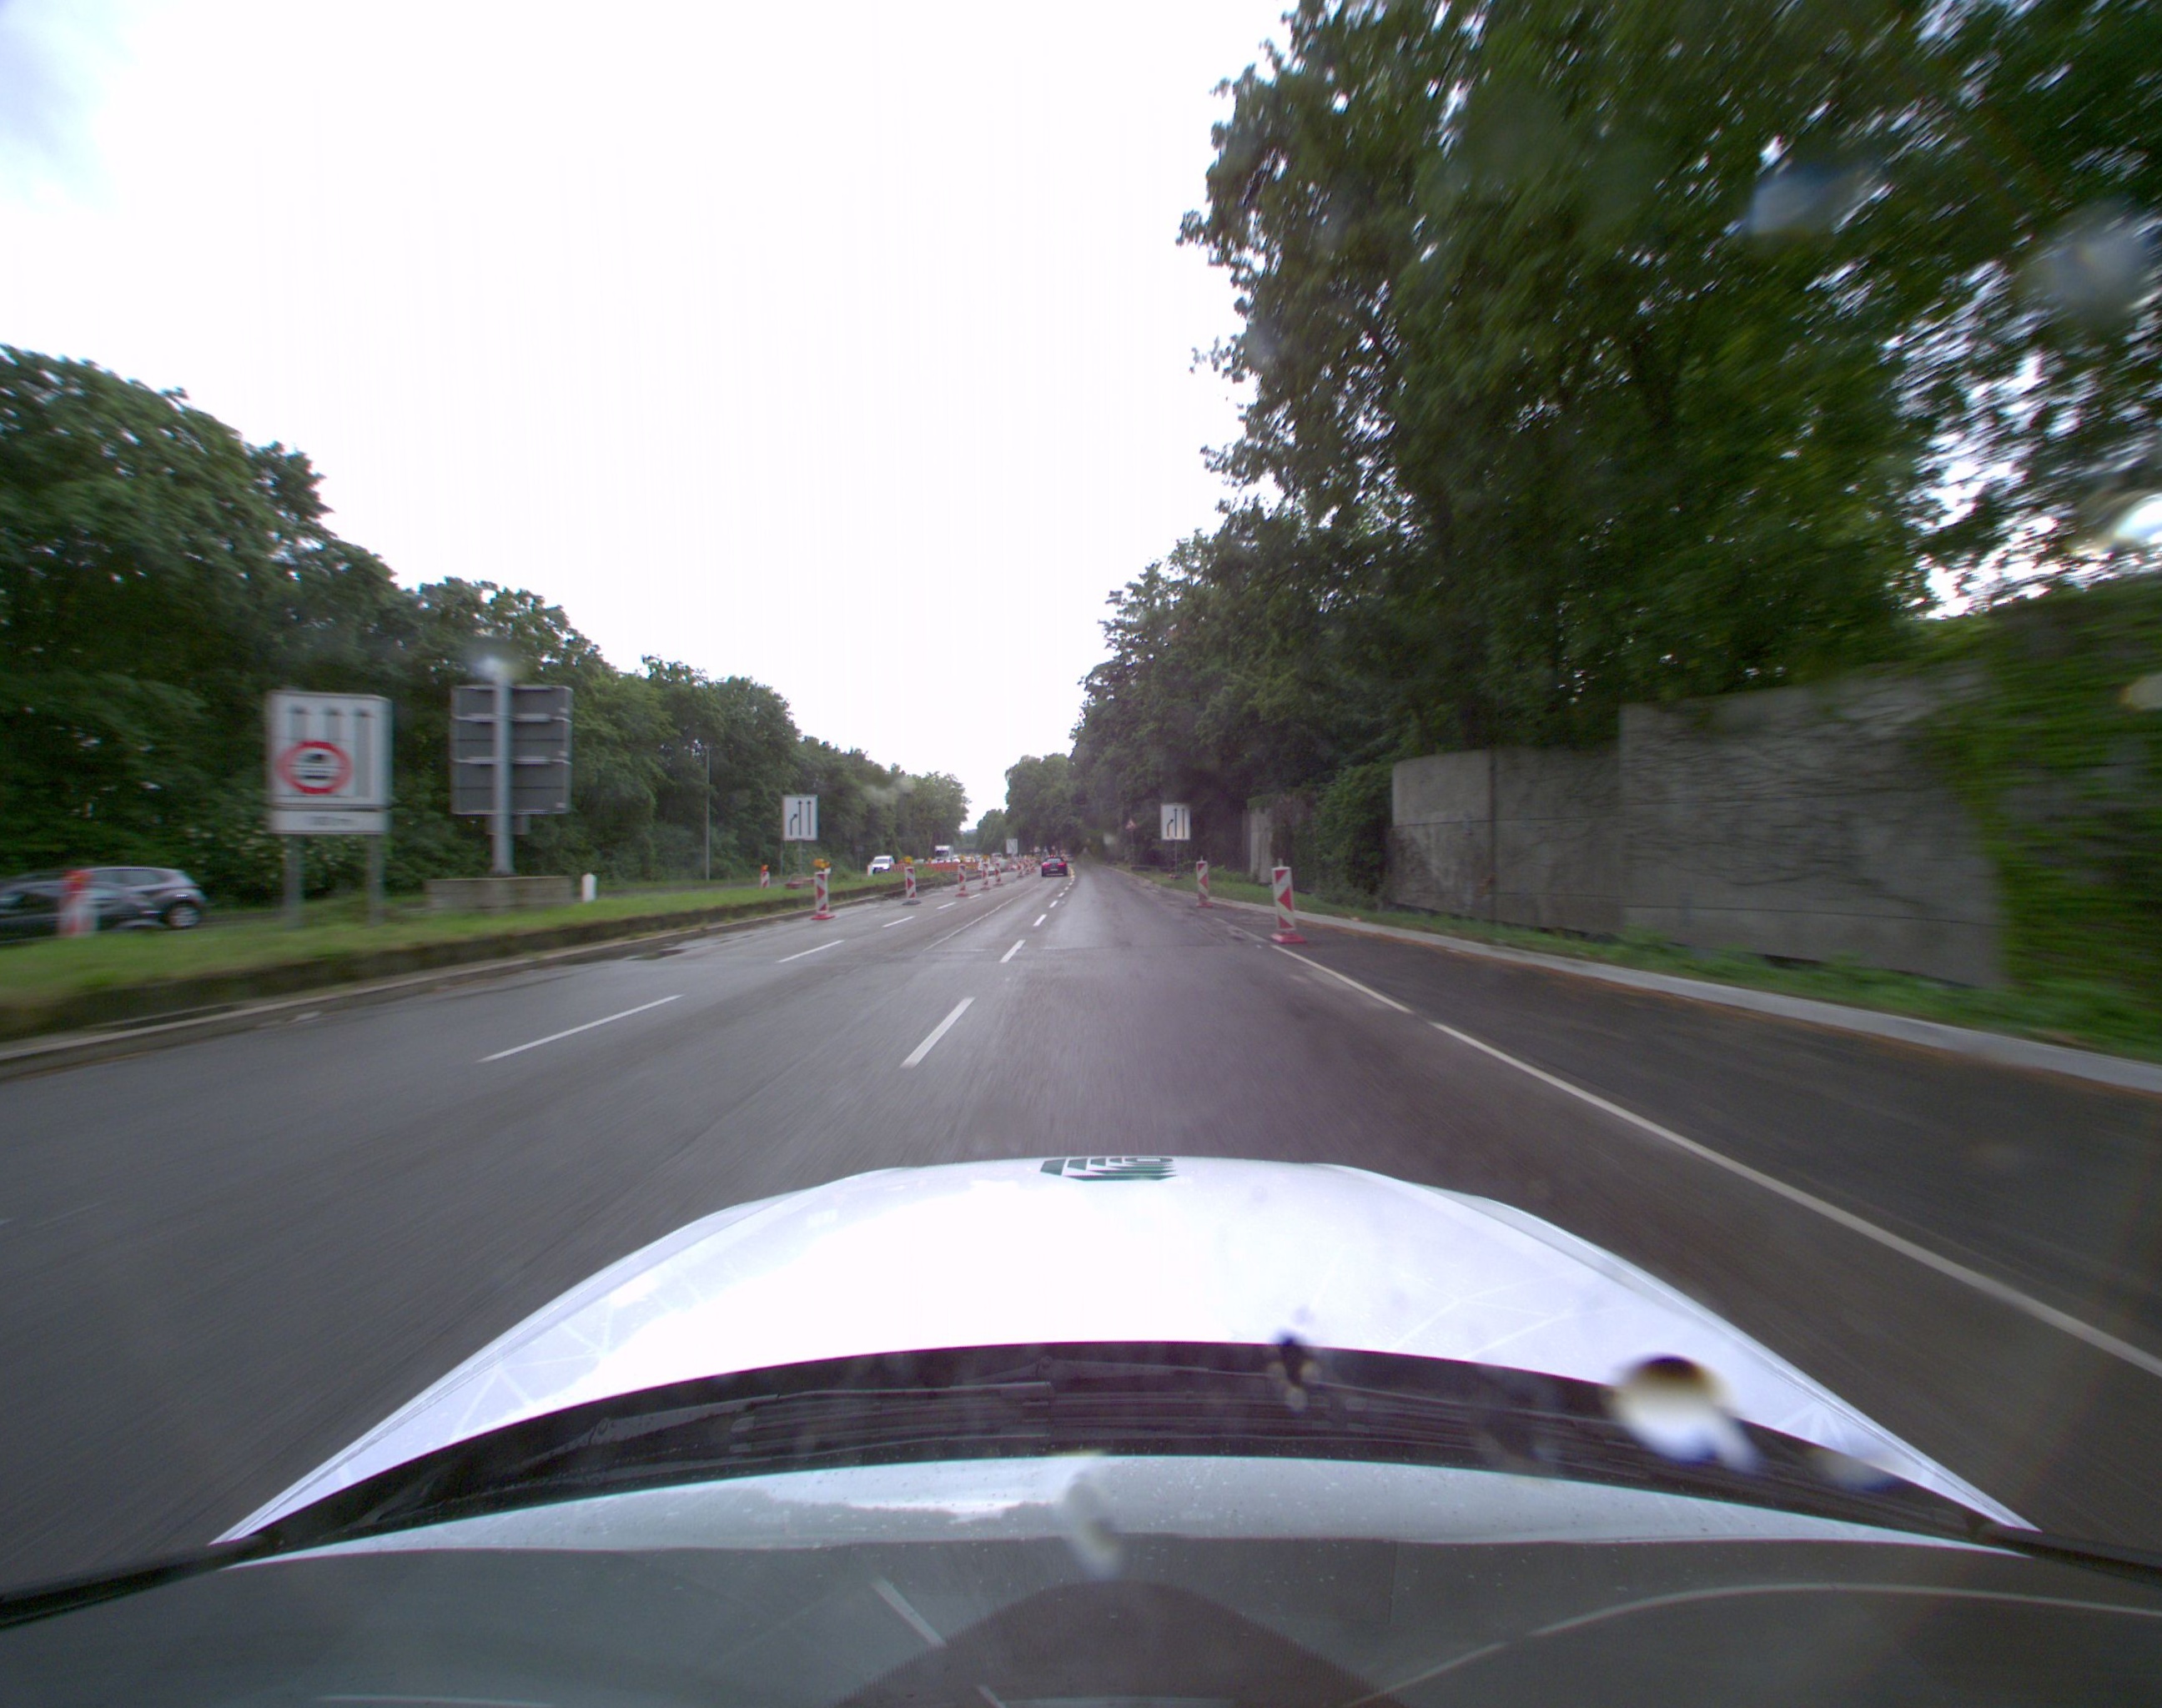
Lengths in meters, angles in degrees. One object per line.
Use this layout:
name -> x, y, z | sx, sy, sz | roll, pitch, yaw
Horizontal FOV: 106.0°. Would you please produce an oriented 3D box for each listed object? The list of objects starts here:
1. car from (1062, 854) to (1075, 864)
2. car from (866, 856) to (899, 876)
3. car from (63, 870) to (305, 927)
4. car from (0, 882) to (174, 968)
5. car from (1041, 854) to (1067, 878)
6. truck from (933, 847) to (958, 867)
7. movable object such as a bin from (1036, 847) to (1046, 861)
car -> -2.166, 0.801, 140.056 | 1.911, 1.598, 4.826 | -1, 1, -4
car -> -18.862, 1.111, 77.654 | 1.908, 1.781, 4.832 | -1, 1, 0
car -> -22.118, 1.052, 20.335 | 1.542, 1.200, 3.934 | -1, 0, 4
car -> -16.525, 1.085, 12.487 | 1.423, 1.200, 3.303 | -1, 0, 4
car -> -1.950, 0.845, 59.687 | 1.857, 1.491, 3.999 | 0, 2, -1
truck -> -23.305, 0.485, 141.013 | 2.788, 3.148, 10.141 | -2, 0, -1
movable object such as a bin -> -8.498, 0.027, 172.210 | 1.744, 2.867, 3.527 | -2, 0, -6
